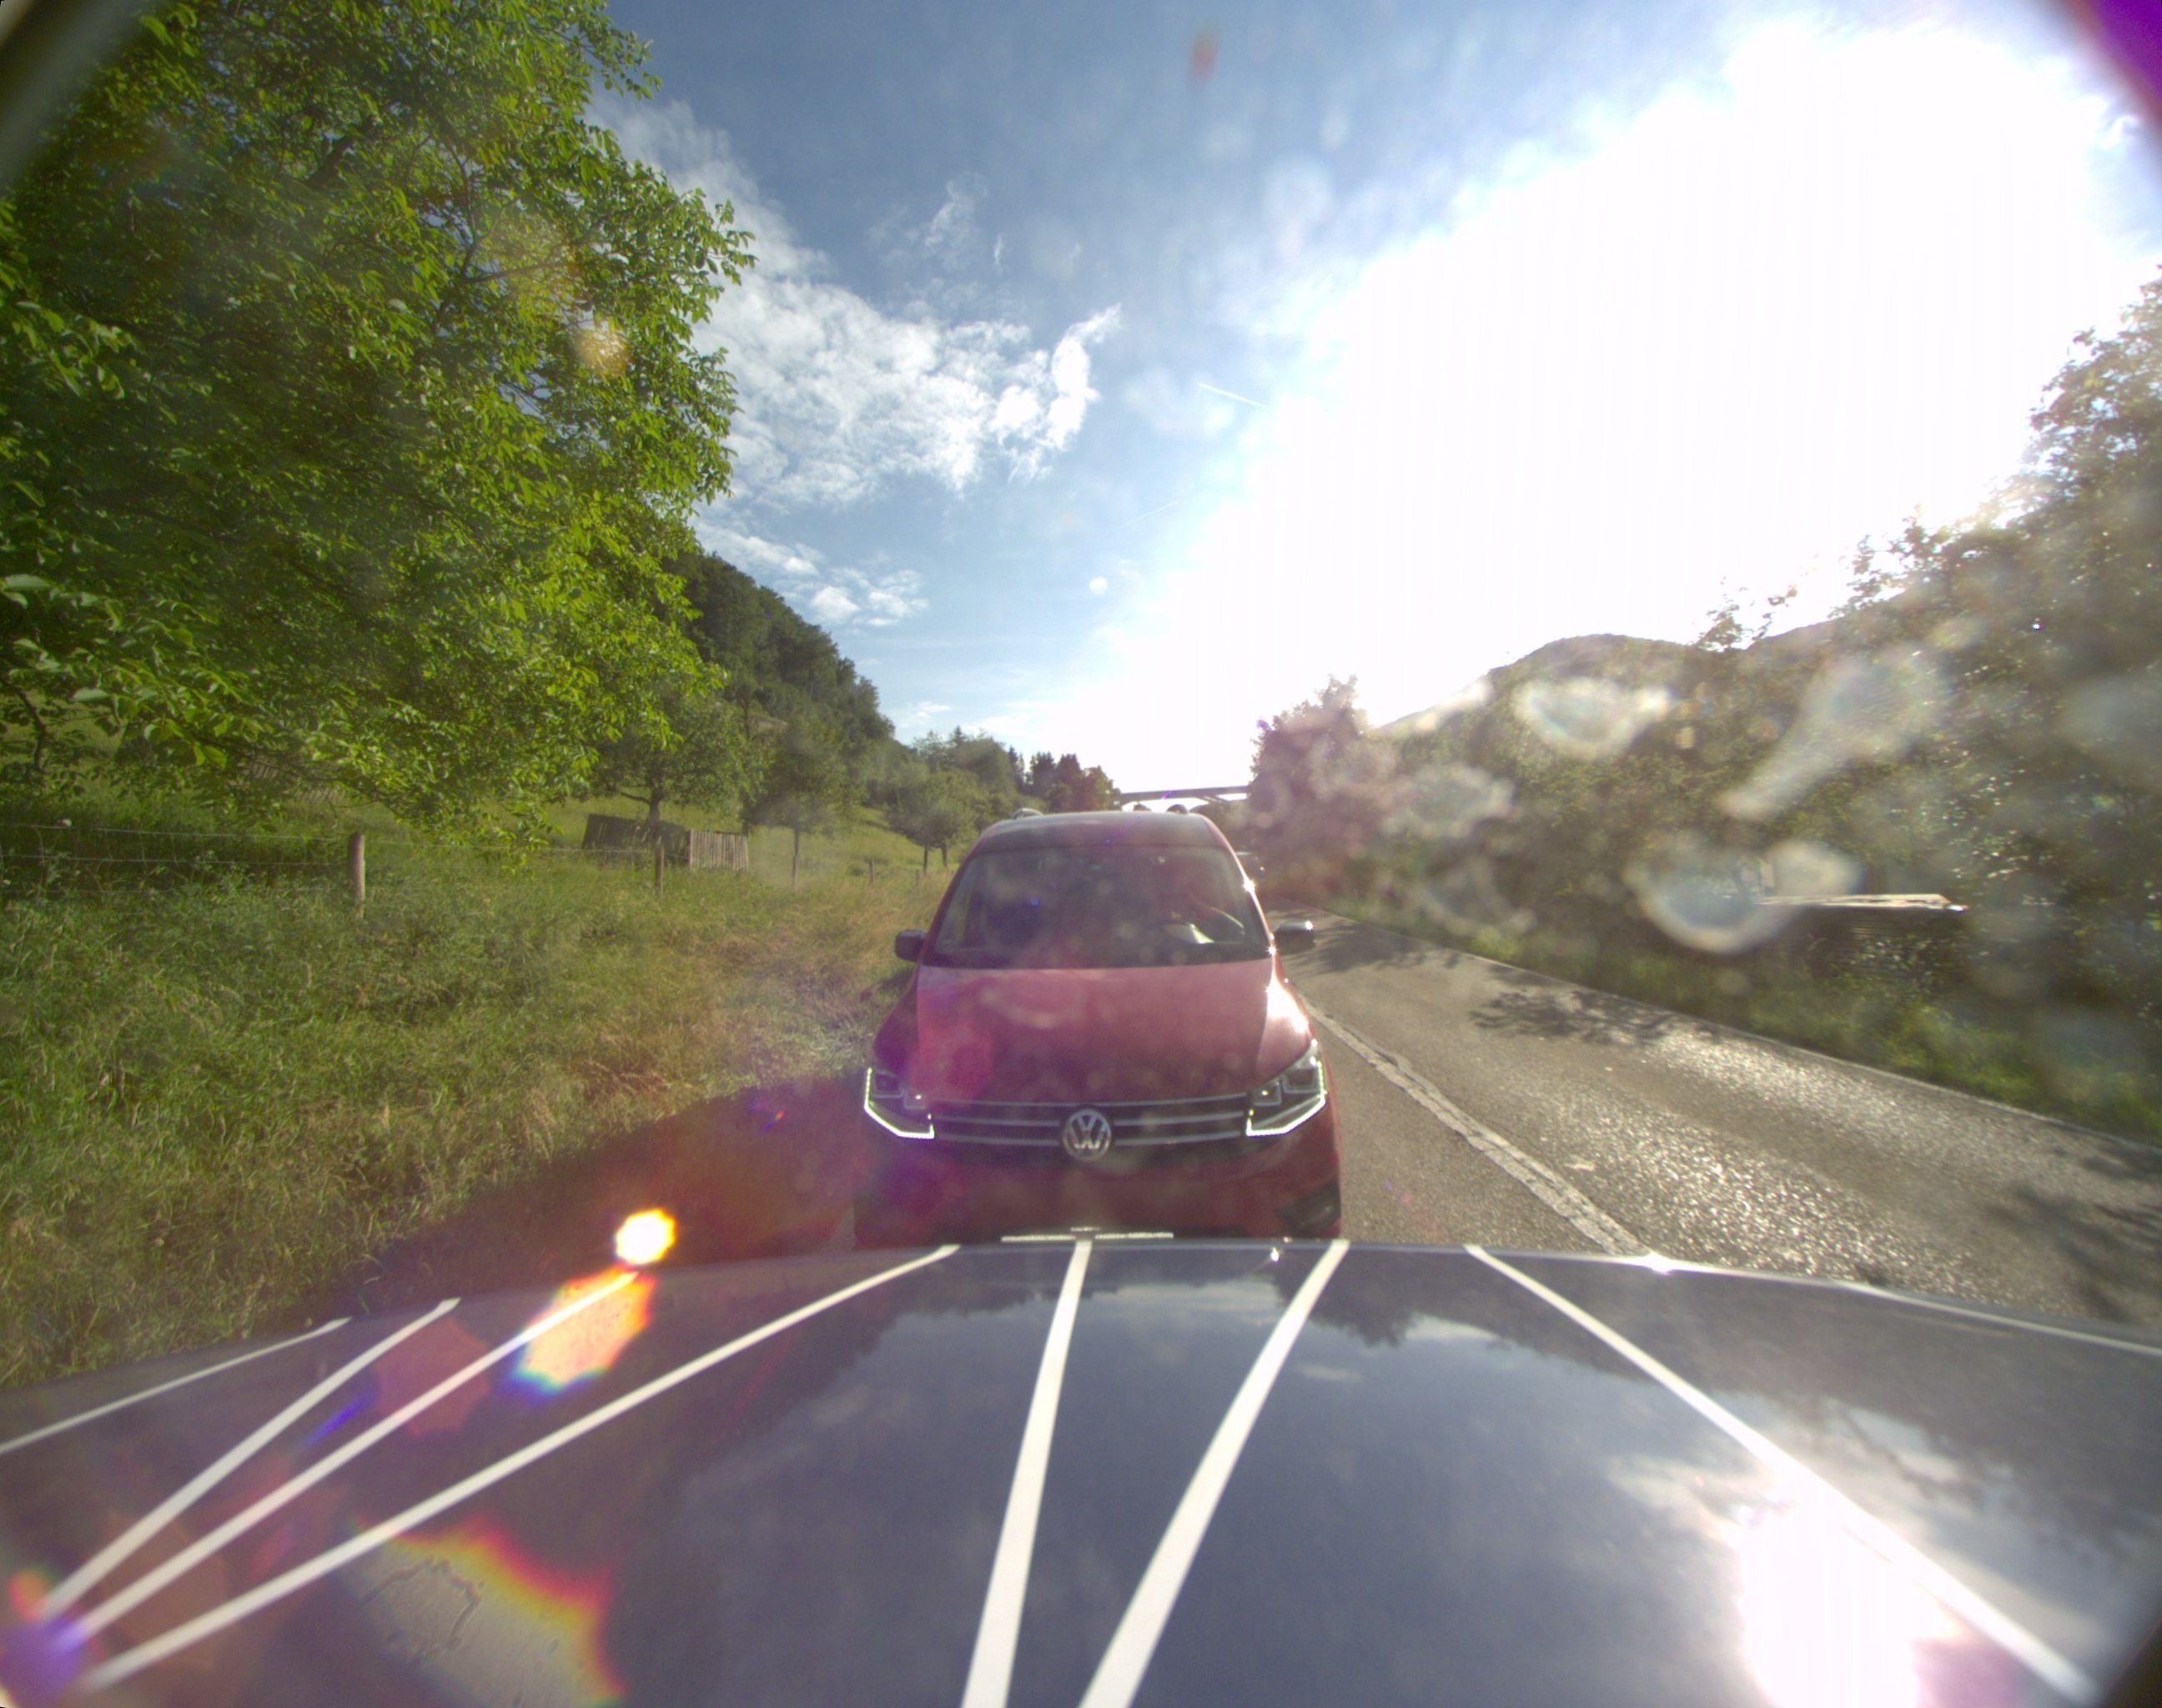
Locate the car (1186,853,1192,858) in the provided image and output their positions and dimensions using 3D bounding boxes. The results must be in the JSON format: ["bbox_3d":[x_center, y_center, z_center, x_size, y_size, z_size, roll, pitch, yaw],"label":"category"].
[{"bbox_3d":[30.129,0.317,211.561,1.597,1.346,4.205,-2,1,8],"label":"car"}]

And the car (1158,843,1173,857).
[{"bbox_3d":[12.126,-0.580,108.899,1.997,2.002,4.001,-2,1,6],"label":"car"}]

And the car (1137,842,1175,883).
[{"bbox_3d":[3.831,0.382,38.934,1.758,1.926,4.001,-2,1,5],"label":"car"}]

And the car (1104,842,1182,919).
[{"bbox_3d":[1.597,0.592,19.623,1.758,1.745,4.001,-2,1,5],"label":"car"}]

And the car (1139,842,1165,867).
[{"bbox_3d":[6.096,0.033,65.664,1.998,2.002,4.000,-2,1,4],"label":"car"}]

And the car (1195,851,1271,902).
[{"bbox_3d":[4.839,0.667,24.656,1.708,1.422,4.050,-2,1,1],"label":"car"}]

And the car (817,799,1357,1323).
[{"bbox_3d":[0.155,0.691,4.773,1.759,1.745,4.430,-2,1,4],"label":"car"}]
